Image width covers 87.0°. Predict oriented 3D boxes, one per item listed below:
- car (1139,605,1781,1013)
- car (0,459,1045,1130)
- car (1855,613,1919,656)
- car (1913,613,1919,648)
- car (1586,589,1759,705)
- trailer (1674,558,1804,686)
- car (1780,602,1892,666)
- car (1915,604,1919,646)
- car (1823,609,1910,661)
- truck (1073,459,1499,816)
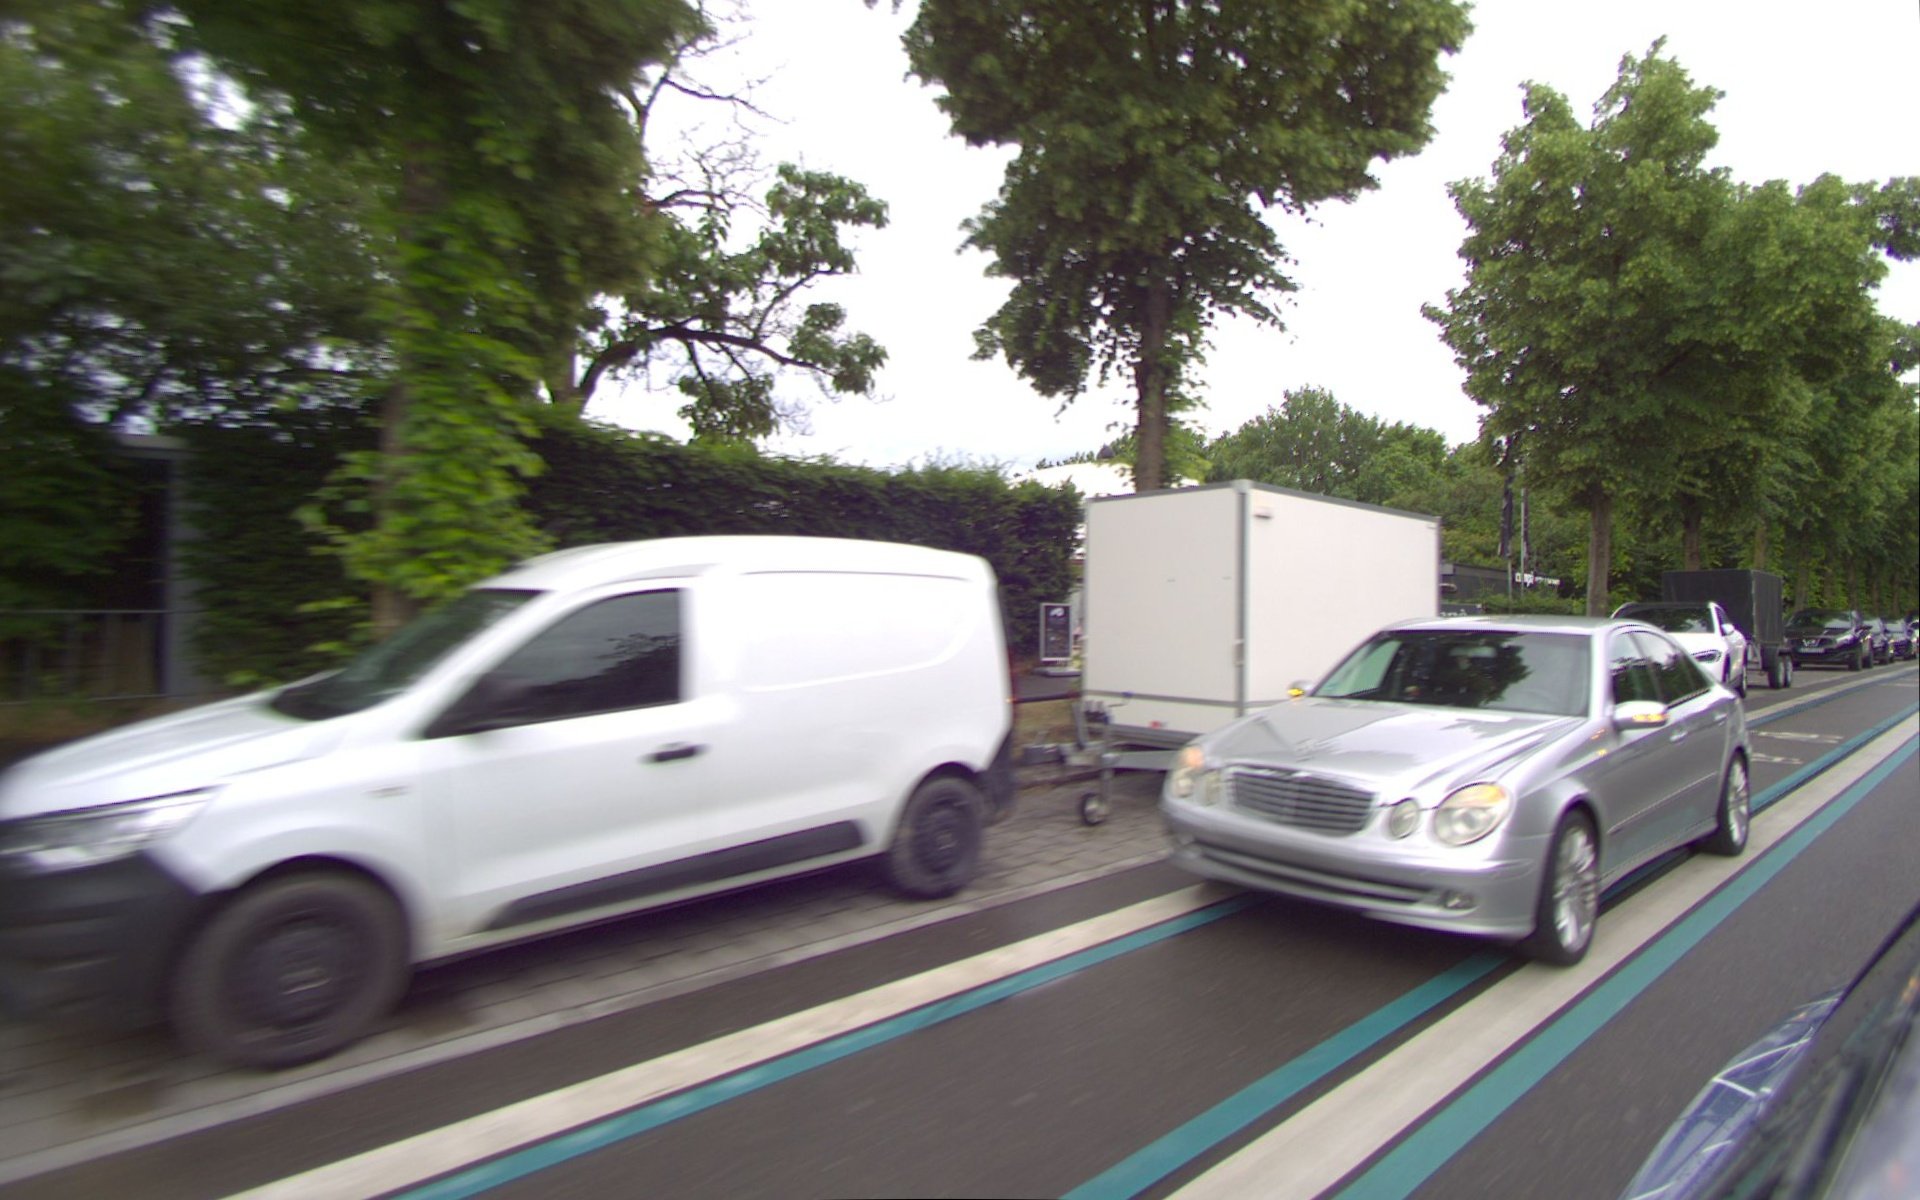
[{"bbox_3d":[3.102,0.754,5.722,4.511,1.416,1.724,1,0,-42],"label":"car"},{"bbox_3d":[-1.696,0.535,4.703,4.270,1.813,1.724,1,-1,-42],"label":"car"},{"bbox_3d":[32.050,1.145,34.684,4.014,1.400,1.687,1,-1,-43],"label":"car"},{"bbox_3d":[42.578,1.305,43.611,4.218,1.505,1.822,0,0,-42],"label":"car"},{"bbox_3d":[11.510,0.659,16.218,1.755,1.605,4.346,0,0,42],"label":"car"},{"bbox_3d":[15.344,0.414,19.877,3.502,2.298,1.348,1,-1,-41],"label":"trailer"},{"bbox_3d":[23.530,0.885,27.128,4.264,1.592,1.692,0,-2,-42],"label":"car"},{"bbox_3d":[46.392,1.171,47.545,4.535,1.900,1.845,1,-1,-42],"label":"car"},{"bbox_3d":[27.610,1.019,30.781,3.934,1.444,1.691,1,0,-44],"label":"car"},{"bbox_3d":[2.926,0.255,8.651,3.931,2.363,1.721,1,-1,-42],"label":"truck"}]
